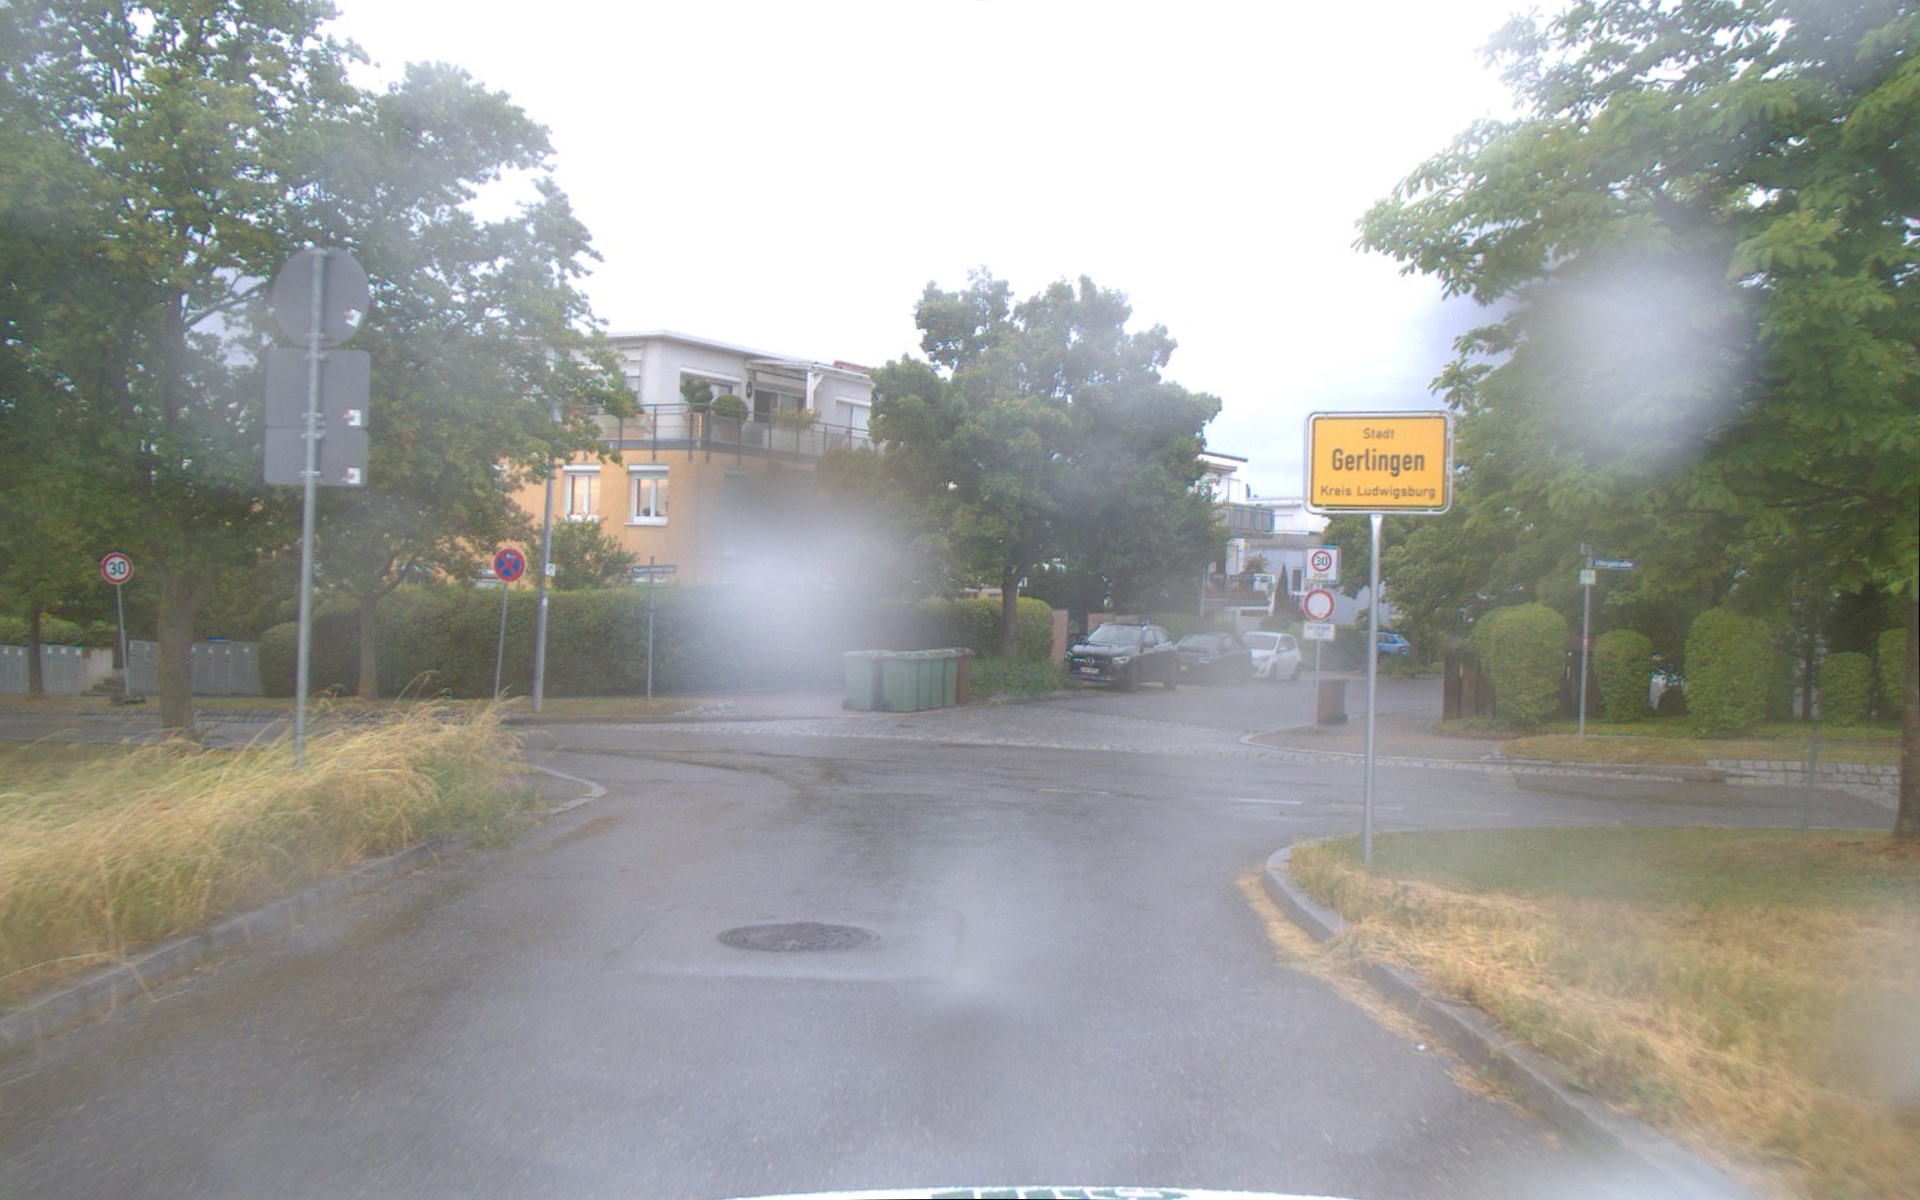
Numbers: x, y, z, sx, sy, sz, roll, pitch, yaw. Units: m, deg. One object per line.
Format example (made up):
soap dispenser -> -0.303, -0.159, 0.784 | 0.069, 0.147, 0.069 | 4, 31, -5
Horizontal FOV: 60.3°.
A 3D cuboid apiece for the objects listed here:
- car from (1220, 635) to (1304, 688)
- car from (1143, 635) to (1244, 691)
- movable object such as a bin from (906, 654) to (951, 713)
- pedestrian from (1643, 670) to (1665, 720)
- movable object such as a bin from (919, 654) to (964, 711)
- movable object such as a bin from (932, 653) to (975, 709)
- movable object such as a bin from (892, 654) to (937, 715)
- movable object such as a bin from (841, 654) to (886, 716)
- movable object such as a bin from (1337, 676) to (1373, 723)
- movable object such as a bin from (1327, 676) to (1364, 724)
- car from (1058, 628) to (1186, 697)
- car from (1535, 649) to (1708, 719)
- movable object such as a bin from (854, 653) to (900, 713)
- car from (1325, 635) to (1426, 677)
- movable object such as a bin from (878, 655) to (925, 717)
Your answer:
car -> 9.400, 1.909, 51.354 | 1.483, 1.502, 3.266 | 3, 0, 30
car -> 6.667, 1.775, 46.915 | 1.605, 1.433, 3.598 | 3, 0, 29
movable object such as a bin -> -0.601, 1.579, 31.506 | 0.680, 1.086, 0.579 | 1, -1, 20
pedestrian -> 17.568, 2.396, 41.880 | 0.419, 1.251, 0.420 | 0, -2, 36
movable object such as a bin -> -0.357, 1.591, 32.077 | 0.680, 1.073, 0.605 | 1, -1, 20
movable object such as a bin -> -0.132, 1.600, 32.811 | 0.680, 1.073, 0.605 | 1, -1, 20
movable object such as a bin -> -0.845, 1.578, 30.968 | 0.680, 1.093, 0.544 | 1, -1, 20
movable object such as a bin -> -1.779, 1.565, 30.588 | 0.651, 1.092, 0.544 | 1, -1, 21
movable object such as a bin -> 8.248, 2.075, 34.542 | 0.560, 0.947, 0.528 | 1, -1, 33
movable object such as a bin -> 7.938, 2.055, 34.056 | 0.560, 0.947, 0.528 | 1, -1, 33
car -> 4.143, 1.555, 41.723 | 1.741, 1.545, 4.132 | 3, 0, 27
car -> 17.280, 2.157, 43.247 | 3.919, 1.693, 1.773 | -1, -1, 36
movable object such as a bin -> -1.558, 1.562, 31.176 | 0.680, 1.091, 0.598 | 1, -1, 20
car -> 18.013, 2.410, 71.692 | 3.908, 1.595, 1.907 | 2, -1, 25
movable object such as a bin -> -1.075, 1.579, 30.405 | 0.680, 1.093, 0.602 | 1, -1, 20
